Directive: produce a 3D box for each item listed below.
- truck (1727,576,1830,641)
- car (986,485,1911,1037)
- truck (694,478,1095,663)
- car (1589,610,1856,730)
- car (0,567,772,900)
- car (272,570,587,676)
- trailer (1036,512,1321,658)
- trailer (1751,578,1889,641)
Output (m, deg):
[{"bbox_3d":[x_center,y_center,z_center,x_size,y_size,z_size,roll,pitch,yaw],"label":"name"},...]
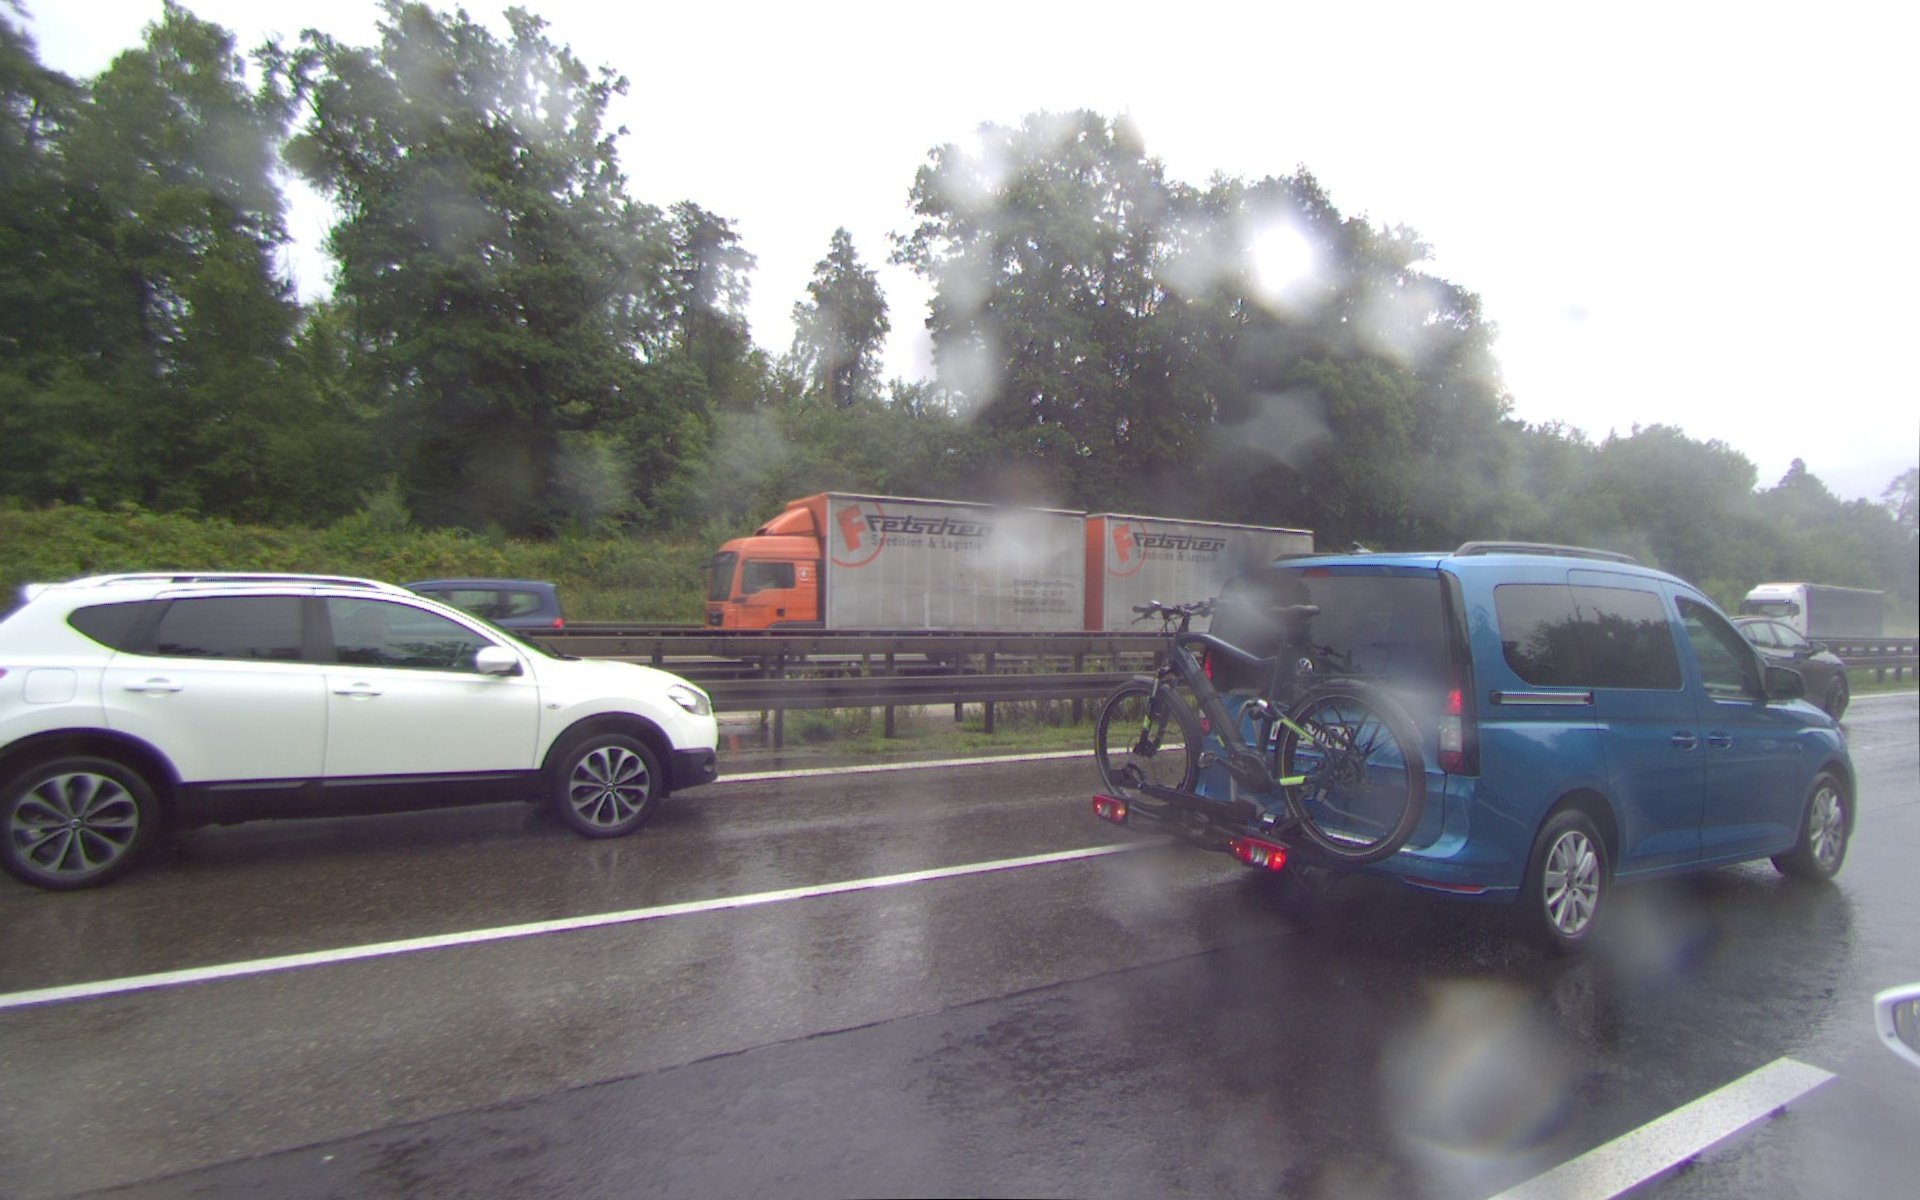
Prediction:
[{"bbox_3d":[50.637,0.547,62.104,6.192,3.869,3.005,1,0,-31],"label":"truck"},{"bbox_3d":[2.852,0.597,5.708,4.953,1.937,2.260,1,0,-28],"label":"car"},{"bbox_3d":[-1.399,-0.550,25.317,9.907,3.984,2.692,1,0,-30],"label":"truck"},{"bbox_3d":[11.925,0.995,15.639,4.416,1.613,1.836,1,0,-32],"label":"car"},{"bbox_3d":[-3.644,0.665,6.522,4.414,1.613,1.836,1,0,-31],"label":"car"},{"bbox_3d":[-8.464,0.353,16.278,4.282,1.517,1.827,1,0,-31],"label":"car"},{"bbox_3d":[6.695,-0.320,30.055,8.901,3.869,2.670,1,0,-31],"label":"trailer"},{"bbox_3d":[56.449,0.692,65.725,13.409,3.869,3.008,1,0,-32],"label":"trailer"}]
